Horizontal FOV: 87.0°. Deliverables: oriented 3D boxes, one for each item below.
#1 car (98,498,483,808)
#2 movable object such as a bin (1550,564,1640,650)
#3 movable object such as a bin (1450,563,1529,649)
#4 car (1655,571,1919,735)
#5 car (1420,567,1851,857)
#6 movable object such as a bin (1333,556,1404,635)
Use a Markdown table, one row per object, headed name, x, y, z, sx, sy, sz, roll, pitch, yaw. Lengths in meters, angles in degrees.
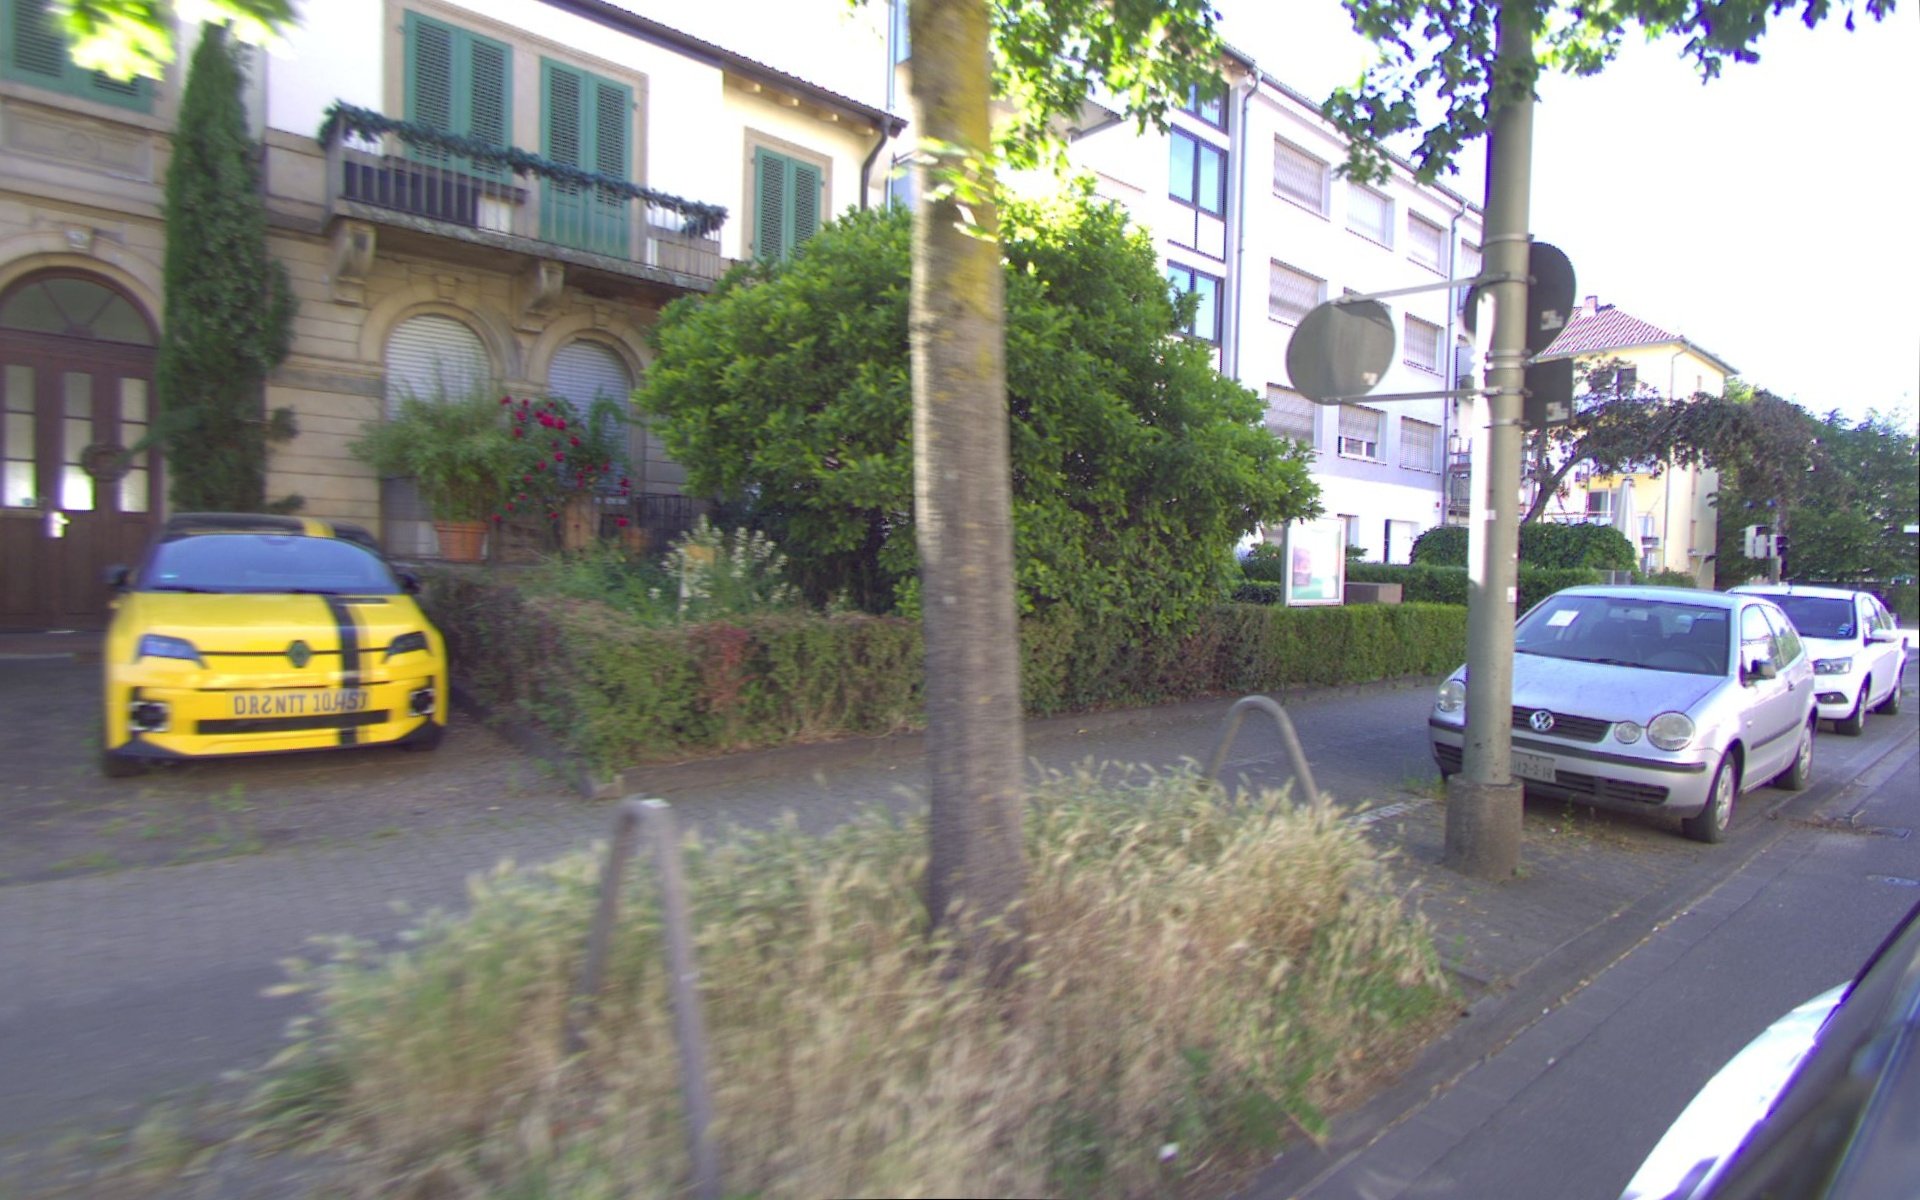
| name | x | y | z | sx | sy | sz | roll | pitch | yaw |
| --- | --- | --- | --- | --- | --- | --- | --- | --- | --- |
| car | -4.923 | 0.113 | 7.184 | 1.799 | 1.458 | 3.998 | 0 | 6 | -40 |
| movable object such as a bin | 11.100 | 0.098 | 17.696 | 1.138 | 1.371 | 0.831 | 6 | 4 | 40 |
| movable object such as a bin | 9.788 | 0.084 | 18.713 | 1.086 | 1.491 | 0.831 | 5 | 3 | 40 |
| car | 9.756 | 0.473 | 11.731 | 4.122 | 1.499 | 1.743 | -1 | 4 | -41 |
| car | 4.951 | 0.561 | 7.214 | 3.798 | 1.474 | 1.570 | -1 | 4 | -41 |
| movable object such as a bin | 8.310 | -0.109 | 20.593 | 1.086 | 1.509 | 0.831 | 5 | 3 | 40 |
